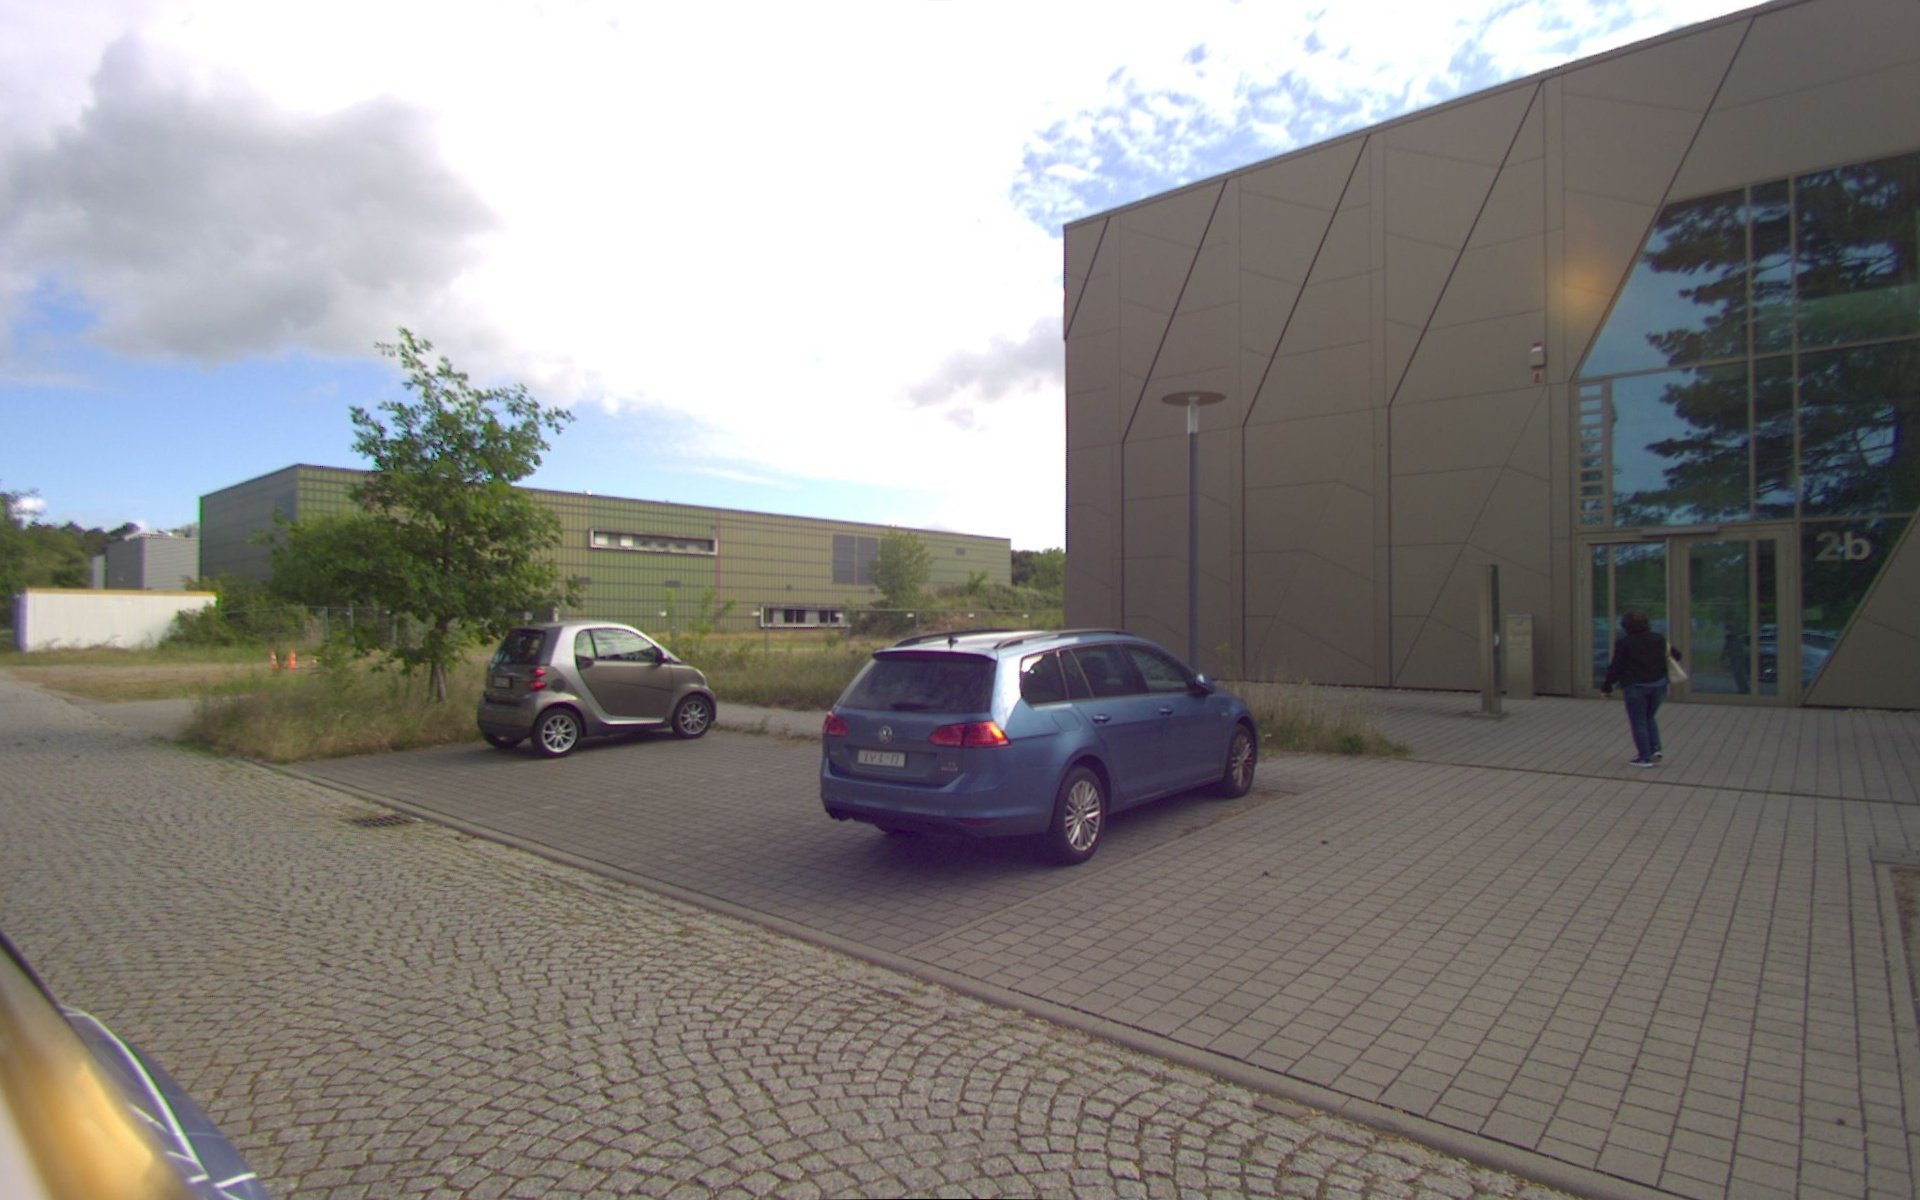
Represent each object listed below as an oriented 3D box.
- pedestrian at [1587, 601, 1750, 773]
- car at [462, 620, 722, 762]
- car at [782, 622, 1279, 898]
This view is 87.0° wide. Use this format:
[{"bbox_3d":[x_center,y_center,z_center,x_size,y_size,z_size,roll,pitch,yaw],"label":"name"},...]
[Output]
[{"bbox_3d":[6.618,0.776,9.510,0.806,1.506,0.987,0,1,-2],"label":"pedestrian"},{"bbox_3d":[-4.568,1.039,12.725,1.609,1.523,2.627,-2,-1,40],"label":"car"},{"bbox_3d":[0.821,0.939,7.836,1.771,1.439,4.264,-1,-1,38],"label":"car"}]
